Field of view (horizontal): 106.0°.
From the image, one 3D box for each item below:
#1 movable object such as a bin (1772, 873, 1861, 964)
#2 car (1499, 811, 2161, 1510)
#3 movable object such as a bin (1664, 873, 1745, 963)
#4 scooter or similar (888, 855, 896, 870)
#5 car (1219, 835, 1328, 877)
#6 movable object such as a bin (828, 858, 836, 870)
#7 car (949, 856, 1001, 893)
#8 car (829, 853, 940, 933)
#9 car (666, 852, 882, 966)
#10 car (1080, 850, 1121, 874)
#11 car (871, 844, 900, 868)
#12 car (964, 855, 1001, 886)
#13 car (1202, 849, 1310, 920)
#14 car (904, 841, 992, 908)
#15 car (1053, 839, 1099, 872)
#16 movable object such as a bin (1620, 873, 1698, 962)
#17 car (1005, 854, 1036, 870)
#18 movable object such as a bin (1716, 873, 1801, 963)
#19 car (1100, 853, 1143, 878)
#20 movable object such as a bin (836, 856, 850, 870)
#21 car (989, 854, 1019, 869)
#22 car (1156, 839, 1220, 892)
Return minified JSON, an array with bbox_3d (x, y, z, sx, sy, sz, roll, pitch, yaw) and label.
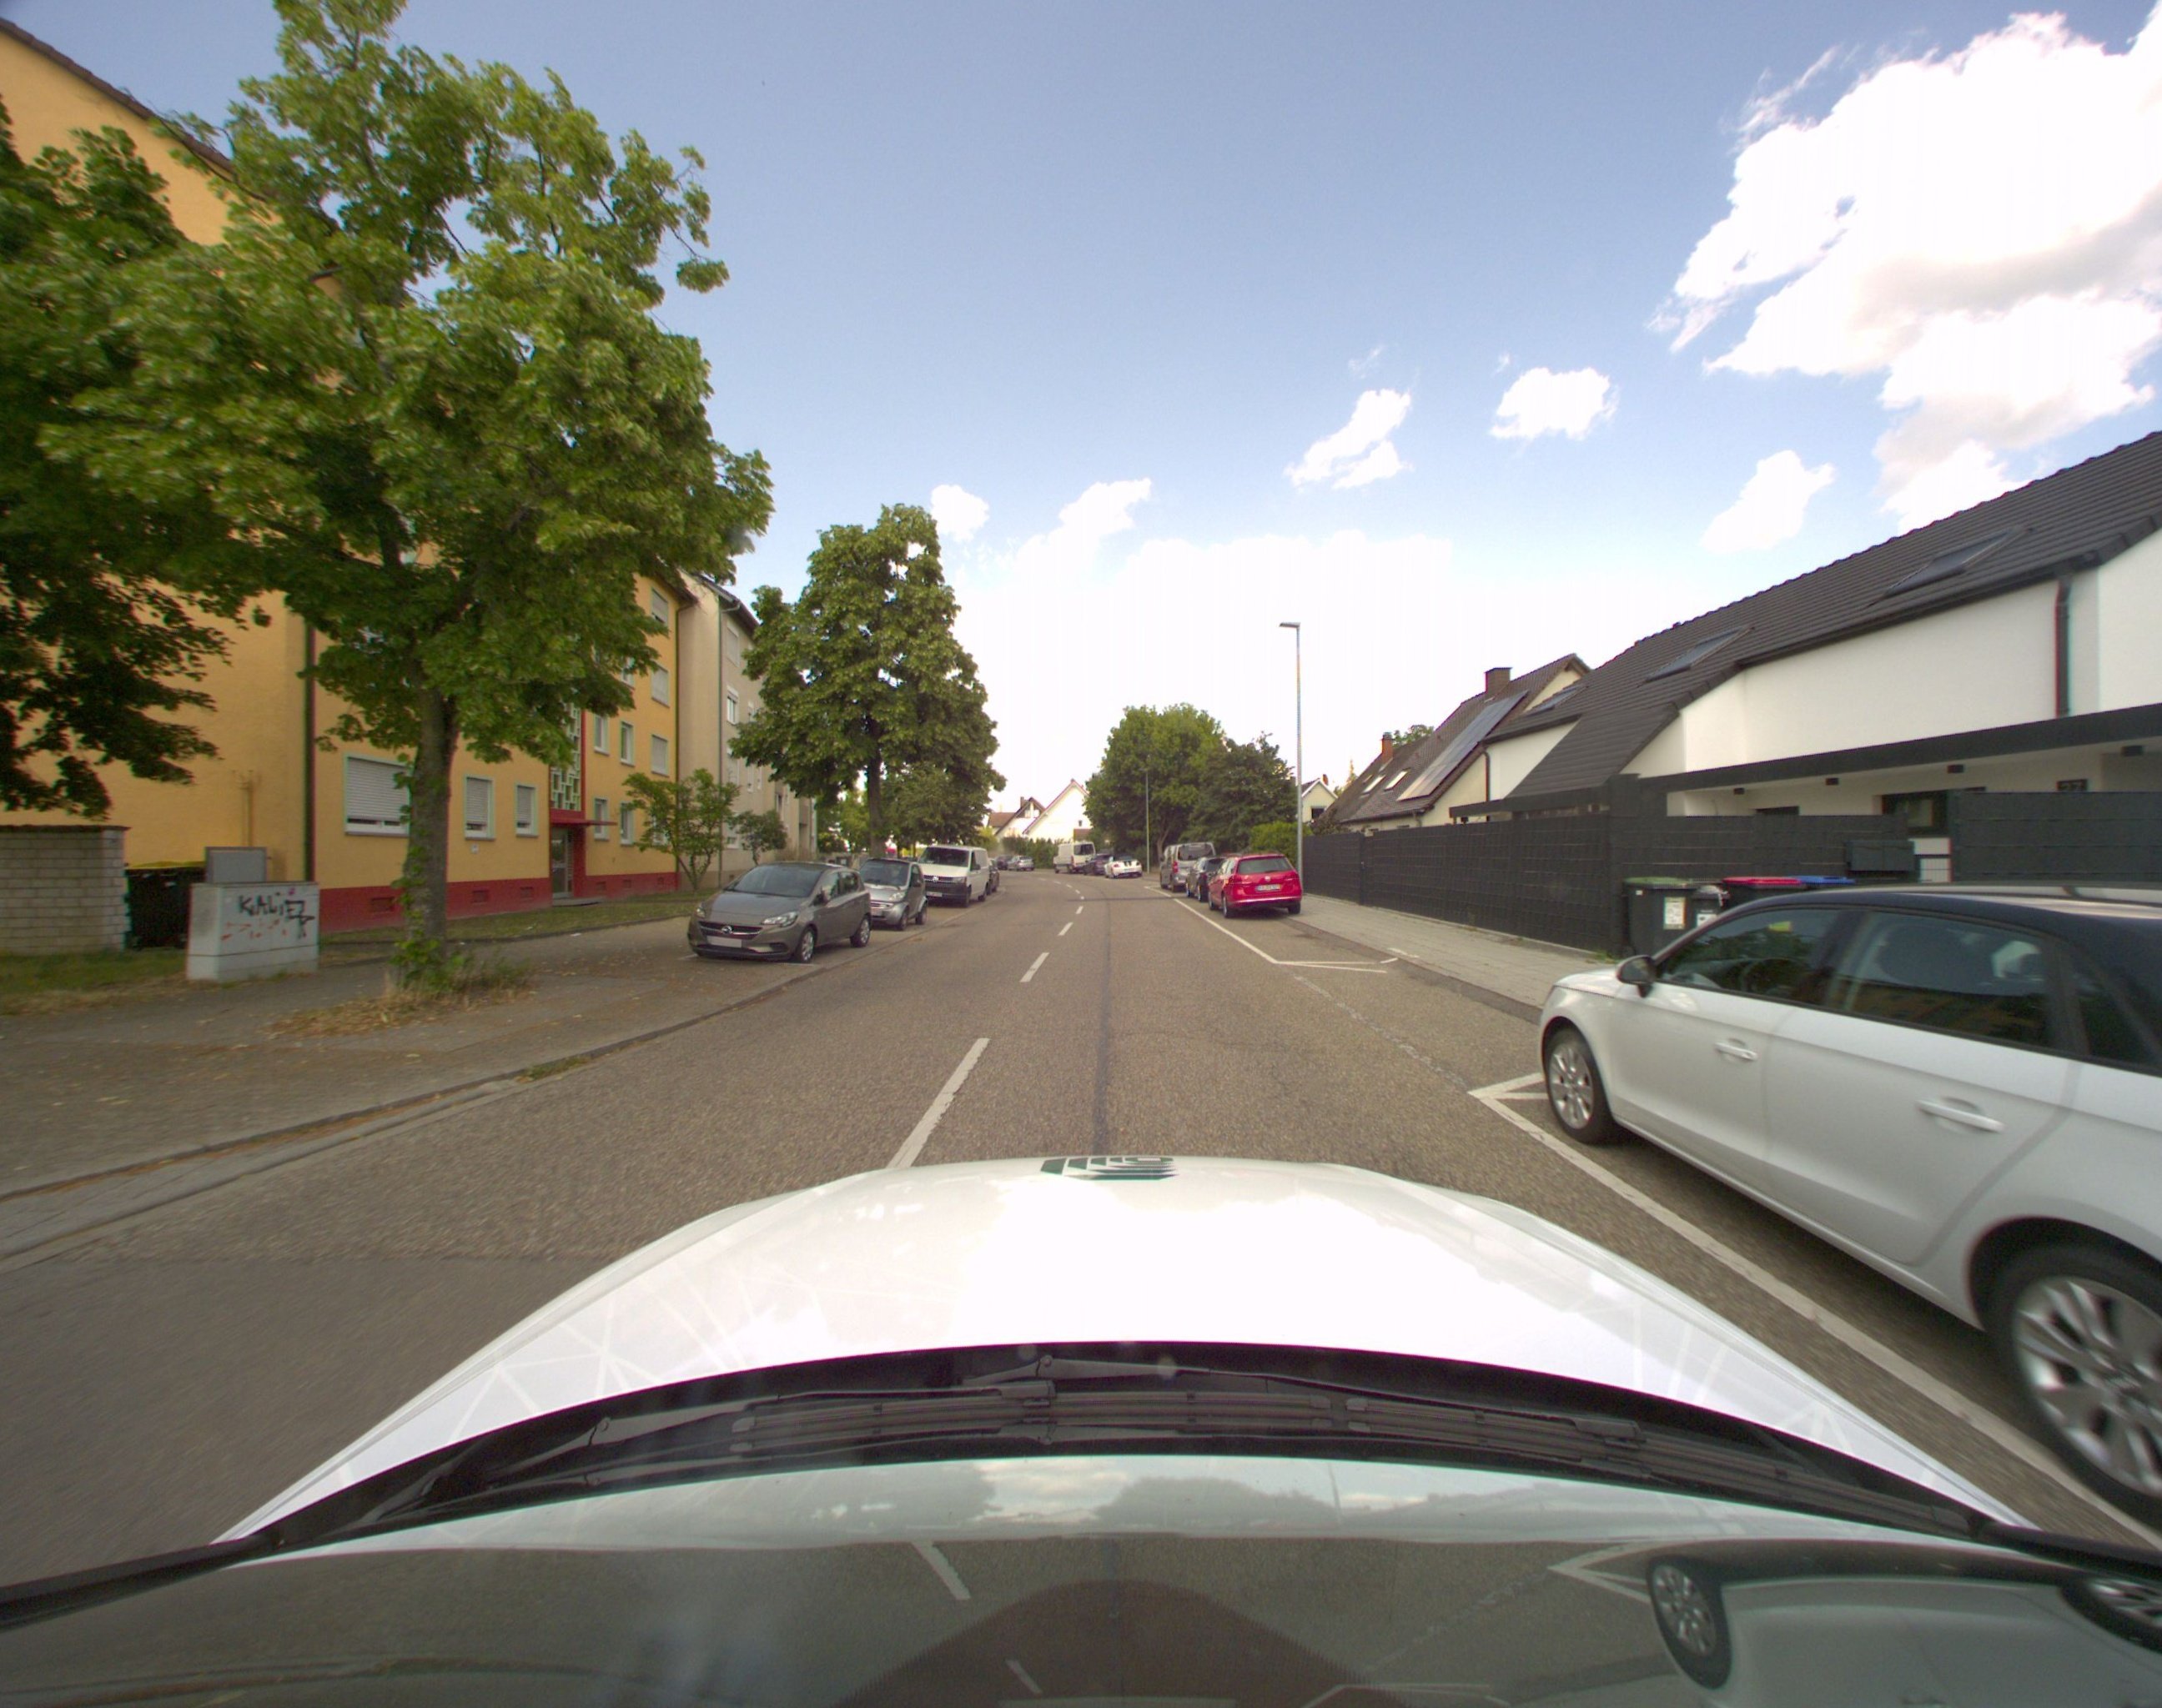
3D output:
[{"bbox_3d":[8.846,0.757,9.809,0.514,1.039,0.630,0,0,2],"label":"movable object such as a bin"},{"bbox_3d":[3.288,0.651,3.134,1.713,1.486,3.754,0,0,5],"label":"car"},{"bbox_3d":[7.565,0.762,9.902,0.514,1.039,0.630,0,0,2],"label":"movable object such as a bin"},{"bbox_3d":[-15.394,0.699,66.299,0.420,1.165,1.133,1,0,-20],"label":"scooter or similar"},{"bbox_3d":[9.827,0.065,41.577,5.300,2.057,2.008,0,0,15],"label":"car"},{"bbox_3d":[-22.805,0.946,74.719,0.625,1.024,0.875,-1,3,-12],"label":"movable object such as a bin"},{"bbox_3d":[-4.535,0.849,35.470,1.755,1.489,4.502,0,0,-1],"label":"car"},{"bbox_3d":[-4.508,0.821,19.209,1.512,1.549,3.756,5,0,1],"label":"car"},{"bbox_3d":[-4.744,0.808,13.269,1.676,1.486,3.988,3,-1,4],"label":"car"},{"bbox_3d":[1.324,0.545,56.976,1.721,1.585,4.102,0,0,-16],"label":"car"},{"bbox_3d":[-21.959,0.242,91.216,2.072,2.501,5.797,4,-1,-23],"label":"car"},{"bbox_3d":[-5.358,0.861,43.984,1.760,1.489,4.019,2,0,-10],"label":"car"},{"bbox_3d":[4.250,0.669,20.495,1.843,1.579,4.735,0,0,2],"label":"car"},{"bbox_3d":[-4.349,0.614,27.569,1.872,2.009,5.325,1,0,2],"label":"car"},{"bbox_3d":[-0.454,0.127,62.886,2.122,2.441,5.862,0,0,-16],"label":"car"},{"bbox_3d":[7.013,0.753,9.906,0.514,1.039,0.630,0,0,2],"label":"movable object such as a bin"},{"bbox_3d":[-5.776,0.756,77.027,1.744,1.457,4.334,0,0,-21],"label":"car"},{"bbox_3d":[8.219,0.763,9.898,0.514,1.039,0.630,0,0,2],"label":"movable object such as a bin"},{"bbox_3d":[2.452,0.666,49.991,1.740,1.512,4.444,0,0,-9],"label":"car"},{"bbox_3d":[-21.873,0.827,74.936,1.193,1.274,0.875,-1,3,-13],"label":"movable object such as a bin"},{"bbox_3d":[-7.847,0.739,82.195,1.745,1.509,4.441,0,0,-23],"label":"car"},{"bbox_3d":[4.296,0.422,33.517,1.837,1.944,4.873,-2,0,-1],"label":"car"}]
